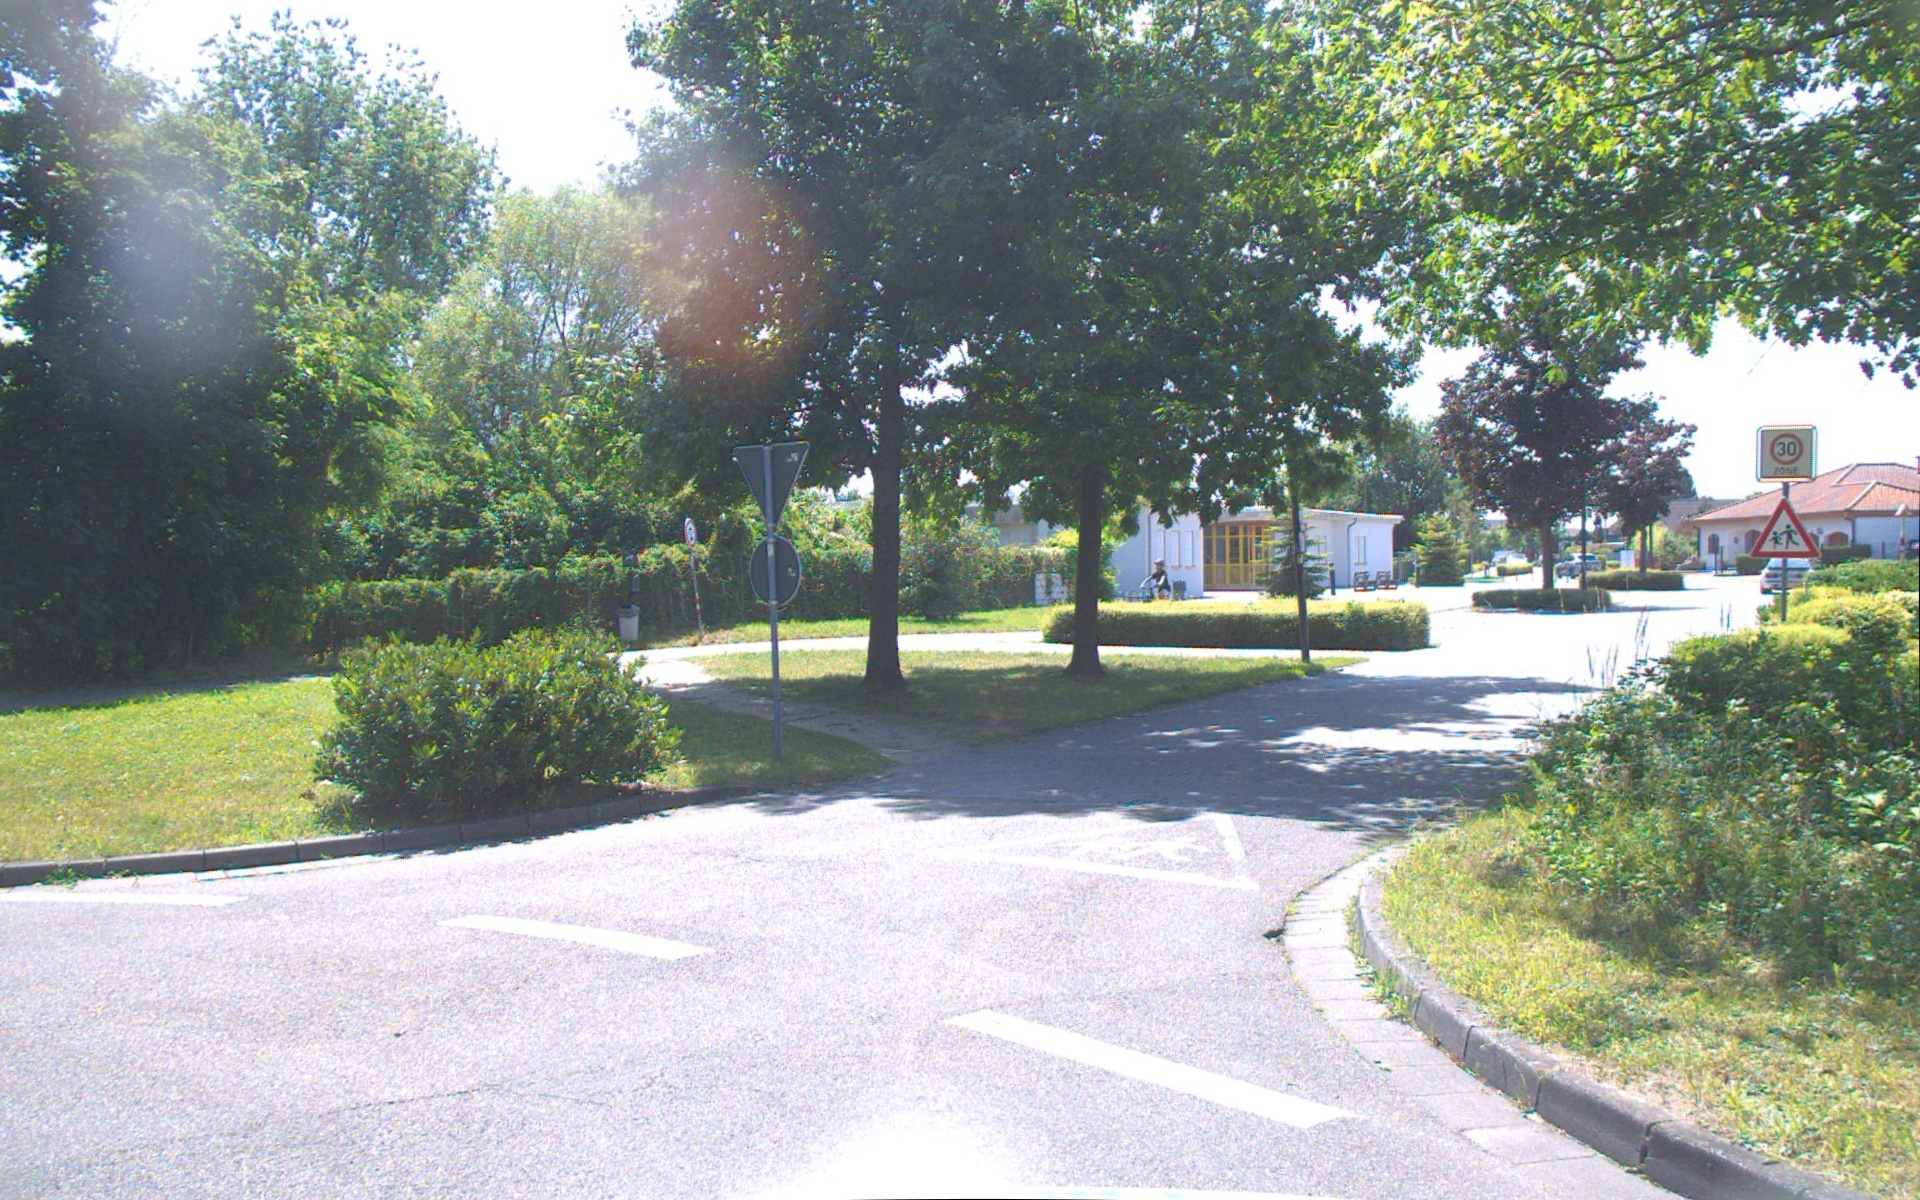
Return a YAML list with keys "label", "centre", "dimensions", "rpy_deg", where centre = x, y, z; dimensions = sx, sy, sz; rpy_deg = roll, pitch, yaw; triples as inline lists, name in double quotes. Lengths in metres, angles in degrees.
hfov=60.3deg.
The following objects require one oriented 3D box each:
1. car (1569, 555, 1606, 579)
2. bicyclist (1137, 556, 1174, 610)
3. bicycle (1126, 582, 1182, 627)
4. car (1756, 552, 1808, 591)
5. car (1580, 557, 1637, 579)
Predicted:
- label: "car"
  centre: [36.358, -1.914, 95.880]
  dimensions: [1.580, 1.310, 3.560]
  rpy_deg: [-1, 1, 14]
- label: "bicyclist"
  centre: [4.334, -0.372, 36.652]
  dimensions: [0.586, 1.185, 0.647]
  rpy_deg: [-1, 1, 32]
- label: "bicycle"
  centre: [4.311, 0.098, 36.594]
  dimensions: [0.586, 0.945, 1.616]
  rpy_deg: [-1, 1, 32]
- label: "car"
  centre: [29.086, -1.030, 58.573]
  dimensions: [1.583, 1.310, 3.554]
  rpy_deg: [0, 1, 26]
- label: "car"
  centre: [40.138, -1.962, 102.512]
  dimensions: [1.953, 1.310, 4.000]
  rpy_deg: [-1, 1, 0]
